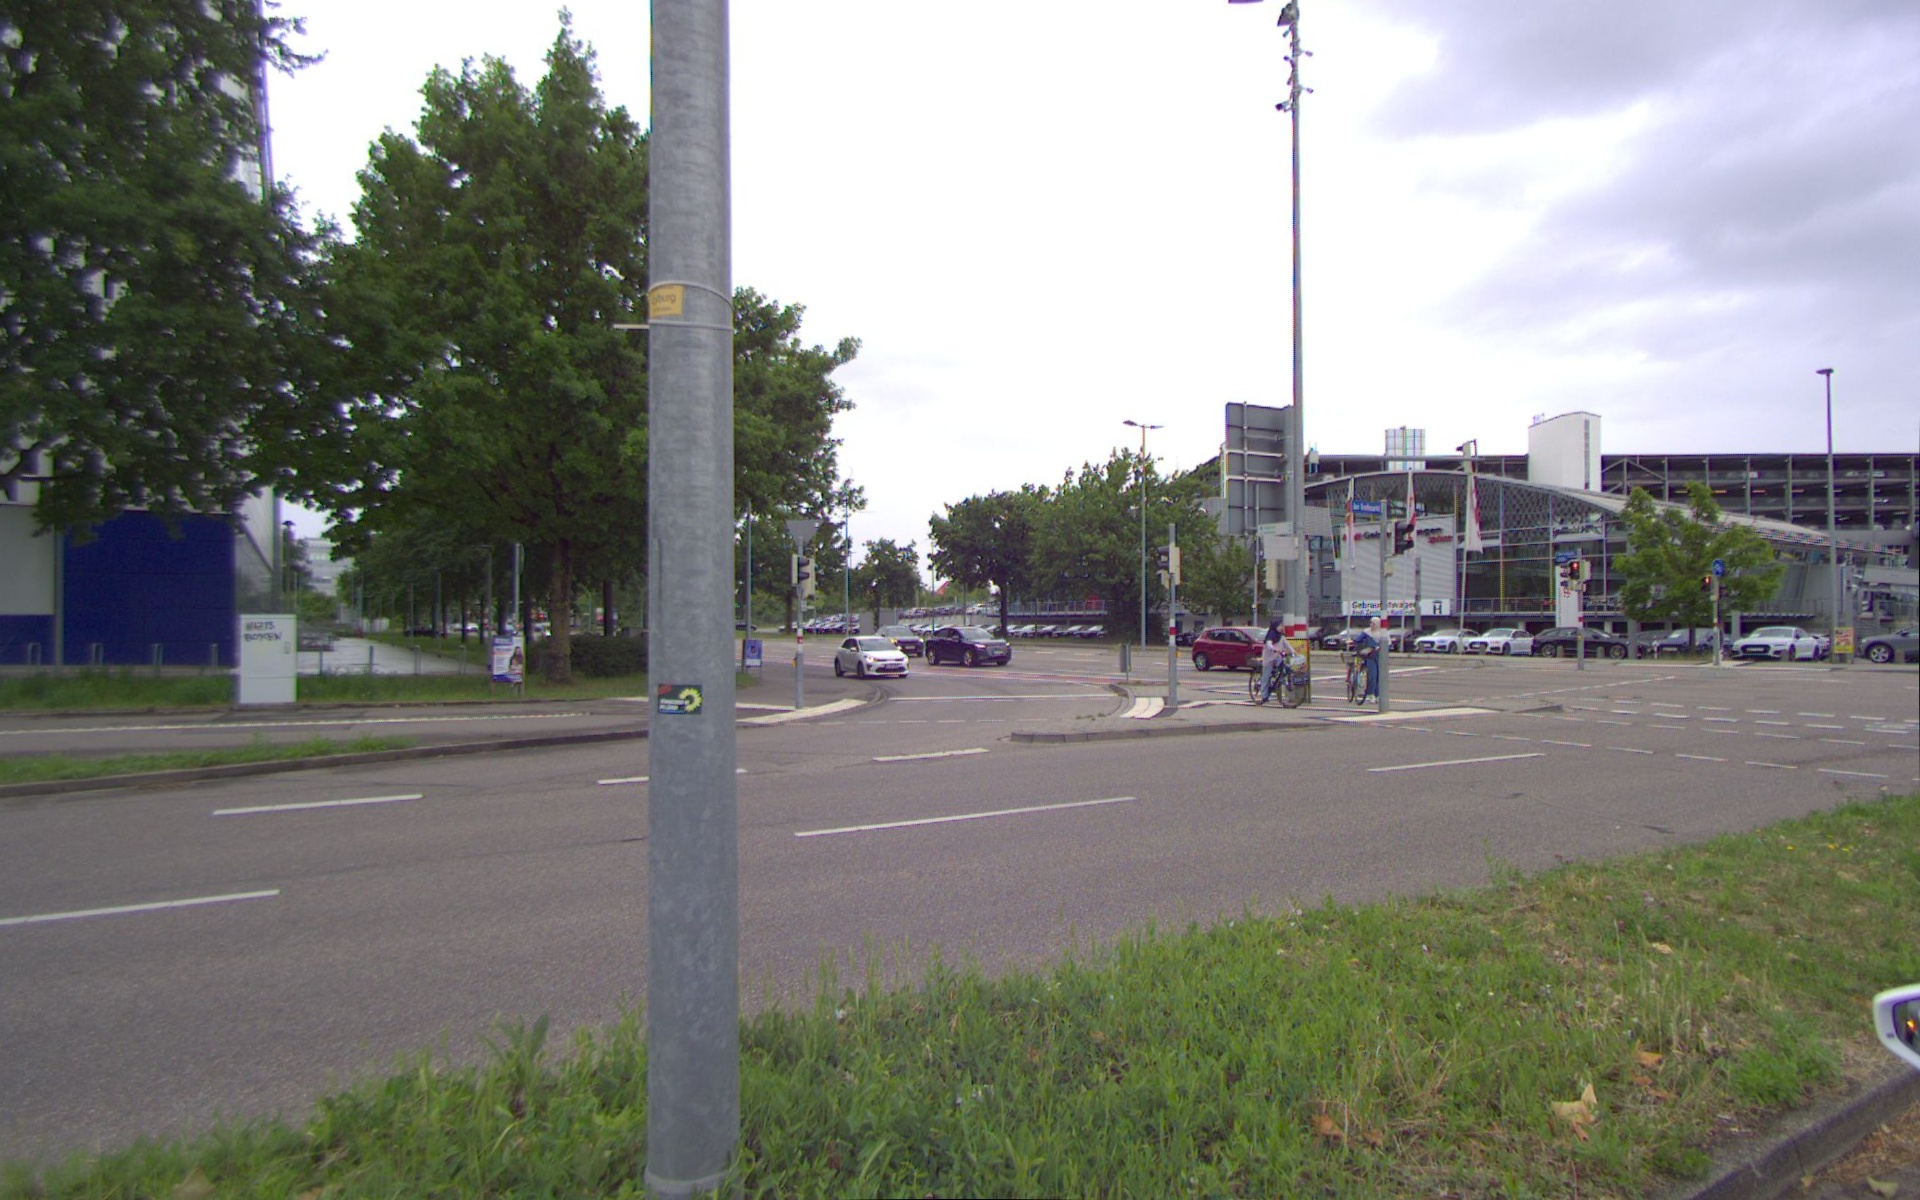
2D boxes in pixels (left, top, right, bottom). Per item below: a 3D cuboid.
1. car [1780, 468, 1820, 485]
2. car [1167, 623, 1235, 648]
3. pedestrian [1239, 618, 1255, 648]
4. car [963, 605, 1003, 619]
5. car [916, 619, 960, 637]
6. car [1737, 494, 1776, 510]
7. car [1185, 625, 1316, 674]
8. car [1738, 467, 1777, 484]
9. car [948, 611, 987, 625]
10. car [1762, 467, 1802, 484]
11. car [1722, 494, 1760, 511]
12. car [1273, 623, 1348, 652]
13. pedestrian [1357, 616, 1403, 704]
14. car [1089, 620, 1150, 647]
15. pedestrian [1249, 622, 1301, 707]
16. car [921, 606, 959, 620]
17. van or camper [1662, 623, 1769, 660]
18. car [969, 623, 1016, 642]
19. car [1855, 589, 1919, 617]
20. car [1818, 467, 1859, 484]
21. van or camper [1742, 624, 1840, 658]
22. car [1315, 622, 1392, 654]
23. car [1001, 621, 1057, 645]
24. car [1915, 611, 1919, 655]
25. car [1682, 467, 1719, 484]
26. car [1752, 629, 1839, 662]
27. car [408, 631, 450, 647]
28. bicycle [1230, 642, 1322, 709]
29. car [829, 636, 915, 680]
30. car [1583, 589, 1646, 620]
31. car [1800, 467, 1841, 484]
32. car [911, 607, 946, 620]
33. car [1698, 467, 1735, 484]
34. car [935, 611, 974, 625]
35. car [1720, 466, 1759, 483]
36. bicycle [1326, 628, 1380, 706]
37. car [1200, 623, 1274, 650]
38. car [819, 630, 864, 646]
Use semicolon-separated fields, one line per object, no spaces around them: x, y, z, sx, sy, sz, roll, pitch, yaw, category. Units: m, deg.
108.882;-16.057;130.298;1.960;1.689;4.001;1;0;2;car
15.440;2.289;64.299;4.175;1.439;1.838;4;-3;-34;car
18.440;2.140;64.463;0.666;1.895;0.713;3;-2;-31;pedestrian
2.643;1.360;116.198;4.306;1.516;1.863;2;0;-35;car
-1.983;2.537;91.035;3.639;1.506;1.696;2;0;-34;car
103.667;-12.715;130.766;1.960;1.689;4.001;1;0;2;car
9.602;1.636;33.462;1.724;1.507;4.039;2;-3;-35;car
103.545;-16.194;130.459;1.960;1.689;4.001;1;0;2;car
0.886;2.157;118.622;4.306;1.516;2.049;2;0;-35;car
106.609;-16.125;130.305;1.960;1.689;4.001;1;0;2;car
101.459;-12.646;130.509;1.960;1.689;4.001;1;0;2;car
20.092;2.152;57.531;4.335;1.489;1.877;4;-3;-34;car
8.058;1.154;19.291;0.628;1.647;0.693;-2;-4;11;pedestrian
11.482;2.400;72.036;4.097;1.411;1.853;8;-4;-34;car
5.983;1.225;19.098;0.645;1.569;0.645;3;-3;-26;pedestrian
-2.448;1.610;122.417;4.306;1.516;1.863;2;0;-35;car
38.885;2.115;51.775;1.979;1.700;3.963;2;0;-33;van or camper
2.703;2.748;84.419;3.639;1.506;1.696;2;0;-34;car
64.960;0.220;69.630;1.740;1.862;3.965;2;0;-32;car
113.690;-16.092;130.019;1.960;1.689;4.001;1;0;2;car
47.792;2.347;57.813;1.828;1.734;3.963;2;0;-33;van or camper
21.611;2.092;55.116;4.148;1.505;1.891;4;-3;-34;car
5.564;2.638;80.736;4.168;1.505;1.940;7;-3;-34;car
46.293;1.442;45.033;1.981;2.040;4.742;2;-4;-35;car
96.302;-16.156;130.679;1.960;1.689;4.001;1;0;2;car
53.301;2.867;64.129;1.742;1.862;3.960;2;0;-35;car
-60.856;4.467;115.164;3.962;1.639;1.785;2;0;-37;car
5.961;1.414;19.071;0.501;1.181;1.936;3;-3;-23;bicycle
-3.210;2.035;35.862;1.764;1.471;3.907;1;-2;-27;car
39.386;0.276;60.427;3.960;1.684;1.807;2;0;-35;car
111.516;-16.165;130.232;1.960;1.689;4.001;1;0;2;car
-3.945;1.703;124.557;4.058;1.516;1.713;2;0;-35;car
98.520;-16.241;130.852;1.960;1.689;4.001;1;0;2;car
-0.637;2.125;120.553;4.306;1.516;1.951;2;0;-35;car
101.336;-16.260;130.645;1.960;1.689;4.001;1;0;2;car
7.546;1.283;19.358;0.585;1.414;1.936;-2;-4;11;bicycle
17.138;2.269;62.060;4.617;1.491;1.830;4;-2;-34;car
-12.978;4.165;110.126;4.413;1.592;1.981;0;-1;-34;car
